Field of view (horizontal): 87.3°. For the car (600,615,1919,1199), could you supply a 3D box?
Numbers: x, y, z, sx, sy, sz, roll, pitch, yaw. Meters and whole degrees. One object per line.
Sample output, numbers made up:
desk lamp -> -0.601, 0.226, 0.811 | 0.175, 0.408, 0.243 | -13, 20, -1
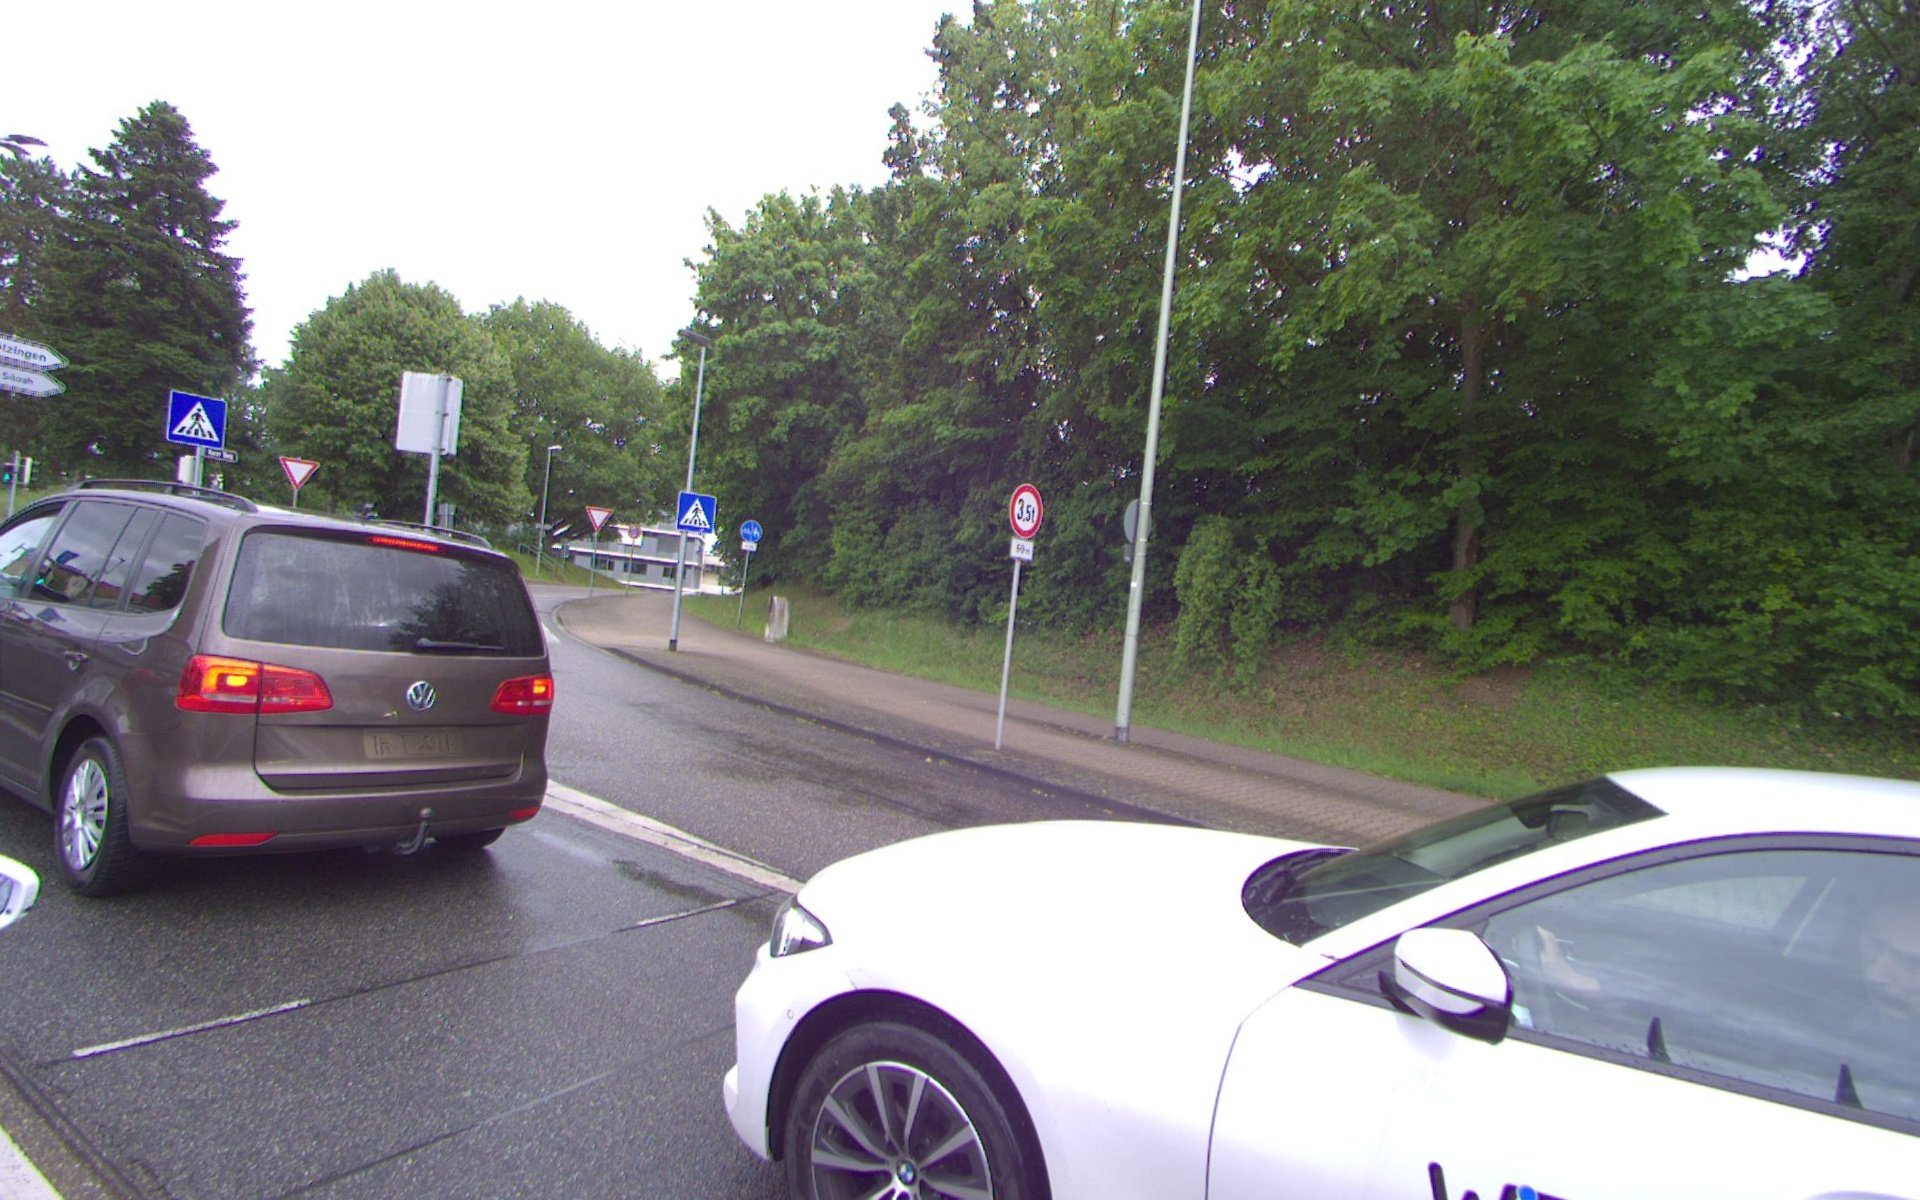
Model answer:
car -> 1.612, 1.068, 2.082 | 4.601, 1.474, 1.783 | 6, -1, 30

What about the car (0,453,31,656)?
car -> -11.028, -0.688, 9.806 | 3.741, 1.899, 1.768 | 7, -1, 31

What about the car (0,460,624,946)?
car -> -3.838, 0.271, 5.212 | 3.915, 1.628, 1.750 | 6, -1, 32

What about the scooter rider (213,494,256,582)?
scooter rider -> -17.238, -1.472, 23.917 | 0.538, 1.990, 0.501 | 7, 1, 31

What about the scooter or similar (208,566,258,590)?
scooter or similar -> -17.262, -0.528, 23.882 | 1.235, 0.408, 0.487 | 7, 0, 31
